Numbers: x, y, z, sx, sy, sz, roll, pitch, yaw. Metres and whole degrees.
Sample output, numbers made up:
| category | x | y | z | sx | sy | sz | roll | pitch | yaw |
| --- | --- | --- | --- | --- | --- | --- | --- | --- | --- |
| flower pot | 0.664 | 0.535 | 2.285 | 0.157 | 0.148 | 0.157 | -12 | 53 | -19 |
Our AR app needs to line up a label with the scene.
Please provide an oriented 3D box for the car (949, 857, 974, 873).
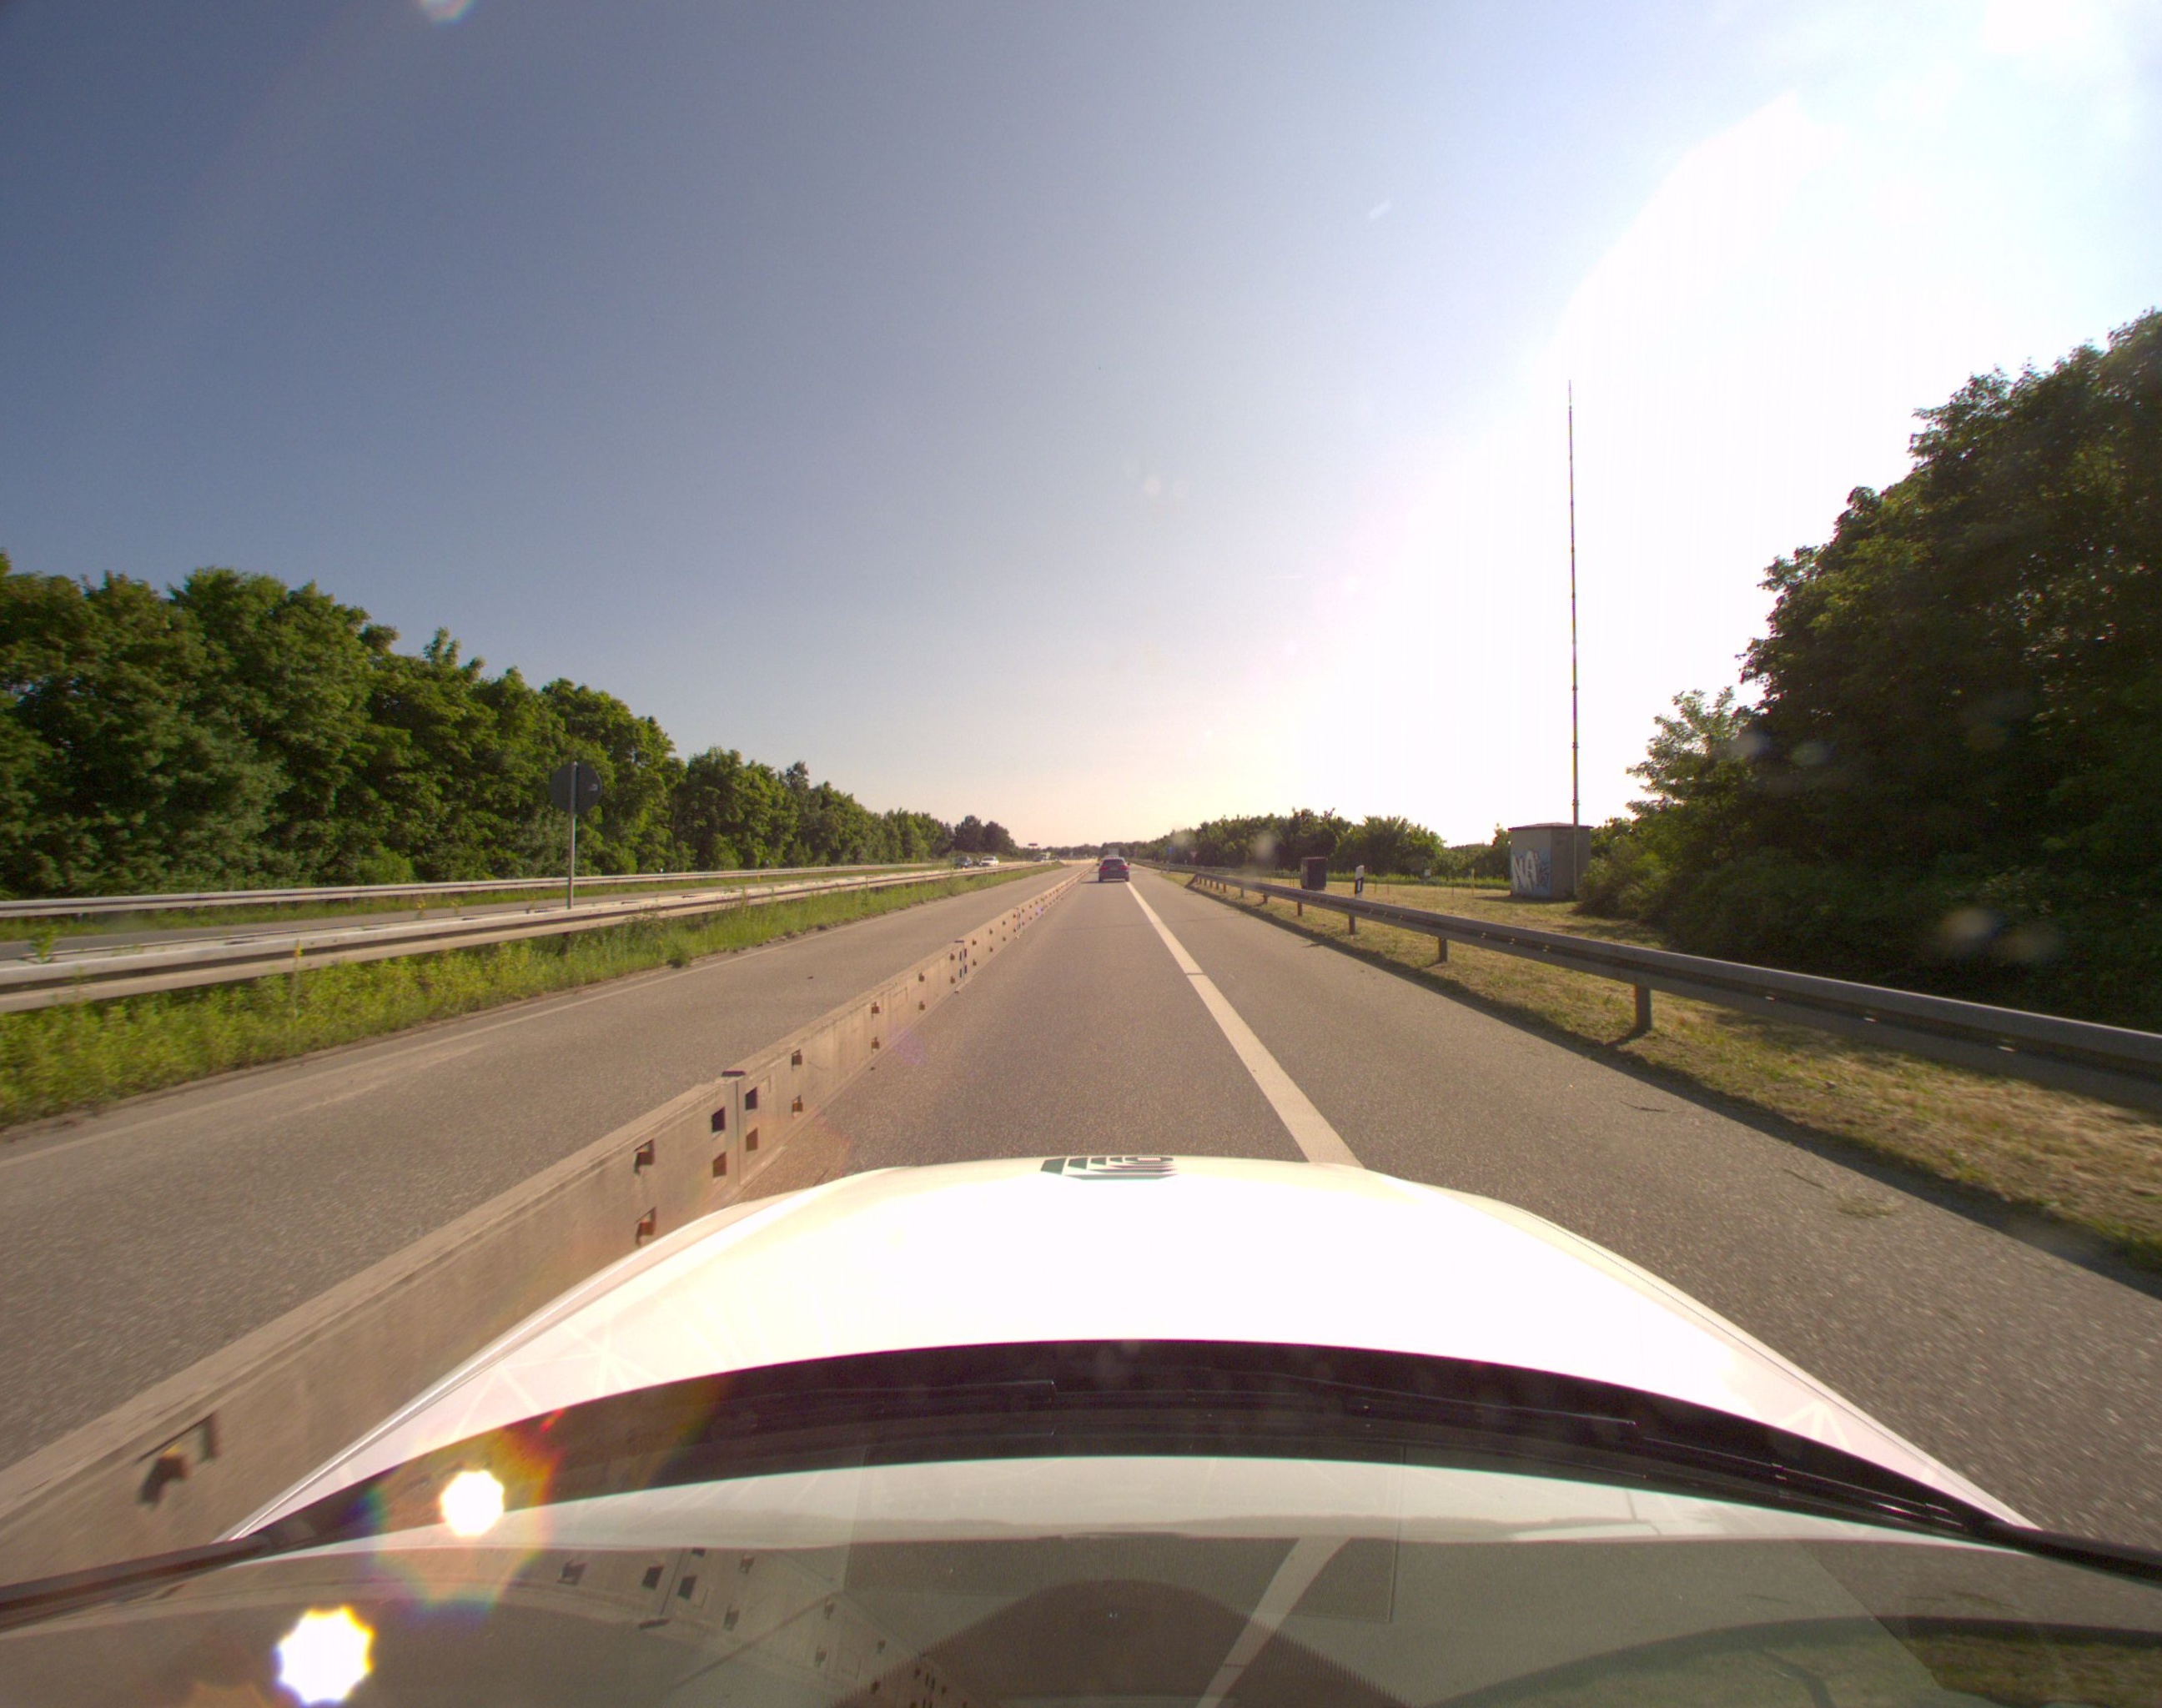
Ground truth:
| category | x | y | z | sx | sy | sz | roll | pitch | yaw |
| --- | --- | --- | --- | --- | --- | --- | --- | --- | --- |
| car | -11.714 | 1.045 | 79.808 | 1.732 | 1.494 | 4.111 | 0 | 0 | 1 |

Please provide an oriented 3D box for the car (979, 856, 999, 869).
| category | x | y | z | sx | sy | sz | roll | pitch | yaw |
| --- | --- | --- | --- | --- | --- | --- | --- | --- | --- |
| car | -10.730 | 0.987 | 95.446 | 1.753 | 1.470 | 4.795 | 0 | 0 | 1 |

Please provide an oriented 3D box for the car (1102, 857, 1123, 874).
| category | x | y | z | sx | sy | sz | roll | pitch | yaw |
| --- | --- | --- | --- | --- | --- | --- | --- | --- | --- |
| car | 3.049 | 1.062 | 78.755 | 1.986 | 1.567 | 4.002 | -1 | 0 | 2 |

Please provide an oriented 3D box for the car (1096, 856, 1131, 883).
| category | x | y | z | sx | sy | sz | roll | pitch | yaw |
| --- | --- | --- | --- | --- | --- | --- | --- | --- | --- |
| car | 1.879 | 0.913 | 48.306 | 1.914 | 1.494 | 4.000 | -1 | 0 | 1 |

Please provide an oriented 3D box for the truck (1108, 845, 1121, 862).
| category | x | y | z | sx | sy | sz | roll | pitch | yaw |
| --- | --- | --- | --- | --- | --- | --- | --- | --- | --- |
| truck | 10.213 | -0.075 | 249.032 | 3.747 | 4.911 | 14.139 | 0 | 0 | 1 |

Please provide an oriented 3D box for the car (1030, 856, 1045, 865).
| category | x | y | z | sx | sy | sz | roll | pitch | yaw |
| --- | --- | --- | --- | --- | --- | --- | --- | --- | --- |
| car | -7.313 | 1.115 | 136.287 | 1.808 | 1.488 | 5.028 | -2 | 0 | 4 |
